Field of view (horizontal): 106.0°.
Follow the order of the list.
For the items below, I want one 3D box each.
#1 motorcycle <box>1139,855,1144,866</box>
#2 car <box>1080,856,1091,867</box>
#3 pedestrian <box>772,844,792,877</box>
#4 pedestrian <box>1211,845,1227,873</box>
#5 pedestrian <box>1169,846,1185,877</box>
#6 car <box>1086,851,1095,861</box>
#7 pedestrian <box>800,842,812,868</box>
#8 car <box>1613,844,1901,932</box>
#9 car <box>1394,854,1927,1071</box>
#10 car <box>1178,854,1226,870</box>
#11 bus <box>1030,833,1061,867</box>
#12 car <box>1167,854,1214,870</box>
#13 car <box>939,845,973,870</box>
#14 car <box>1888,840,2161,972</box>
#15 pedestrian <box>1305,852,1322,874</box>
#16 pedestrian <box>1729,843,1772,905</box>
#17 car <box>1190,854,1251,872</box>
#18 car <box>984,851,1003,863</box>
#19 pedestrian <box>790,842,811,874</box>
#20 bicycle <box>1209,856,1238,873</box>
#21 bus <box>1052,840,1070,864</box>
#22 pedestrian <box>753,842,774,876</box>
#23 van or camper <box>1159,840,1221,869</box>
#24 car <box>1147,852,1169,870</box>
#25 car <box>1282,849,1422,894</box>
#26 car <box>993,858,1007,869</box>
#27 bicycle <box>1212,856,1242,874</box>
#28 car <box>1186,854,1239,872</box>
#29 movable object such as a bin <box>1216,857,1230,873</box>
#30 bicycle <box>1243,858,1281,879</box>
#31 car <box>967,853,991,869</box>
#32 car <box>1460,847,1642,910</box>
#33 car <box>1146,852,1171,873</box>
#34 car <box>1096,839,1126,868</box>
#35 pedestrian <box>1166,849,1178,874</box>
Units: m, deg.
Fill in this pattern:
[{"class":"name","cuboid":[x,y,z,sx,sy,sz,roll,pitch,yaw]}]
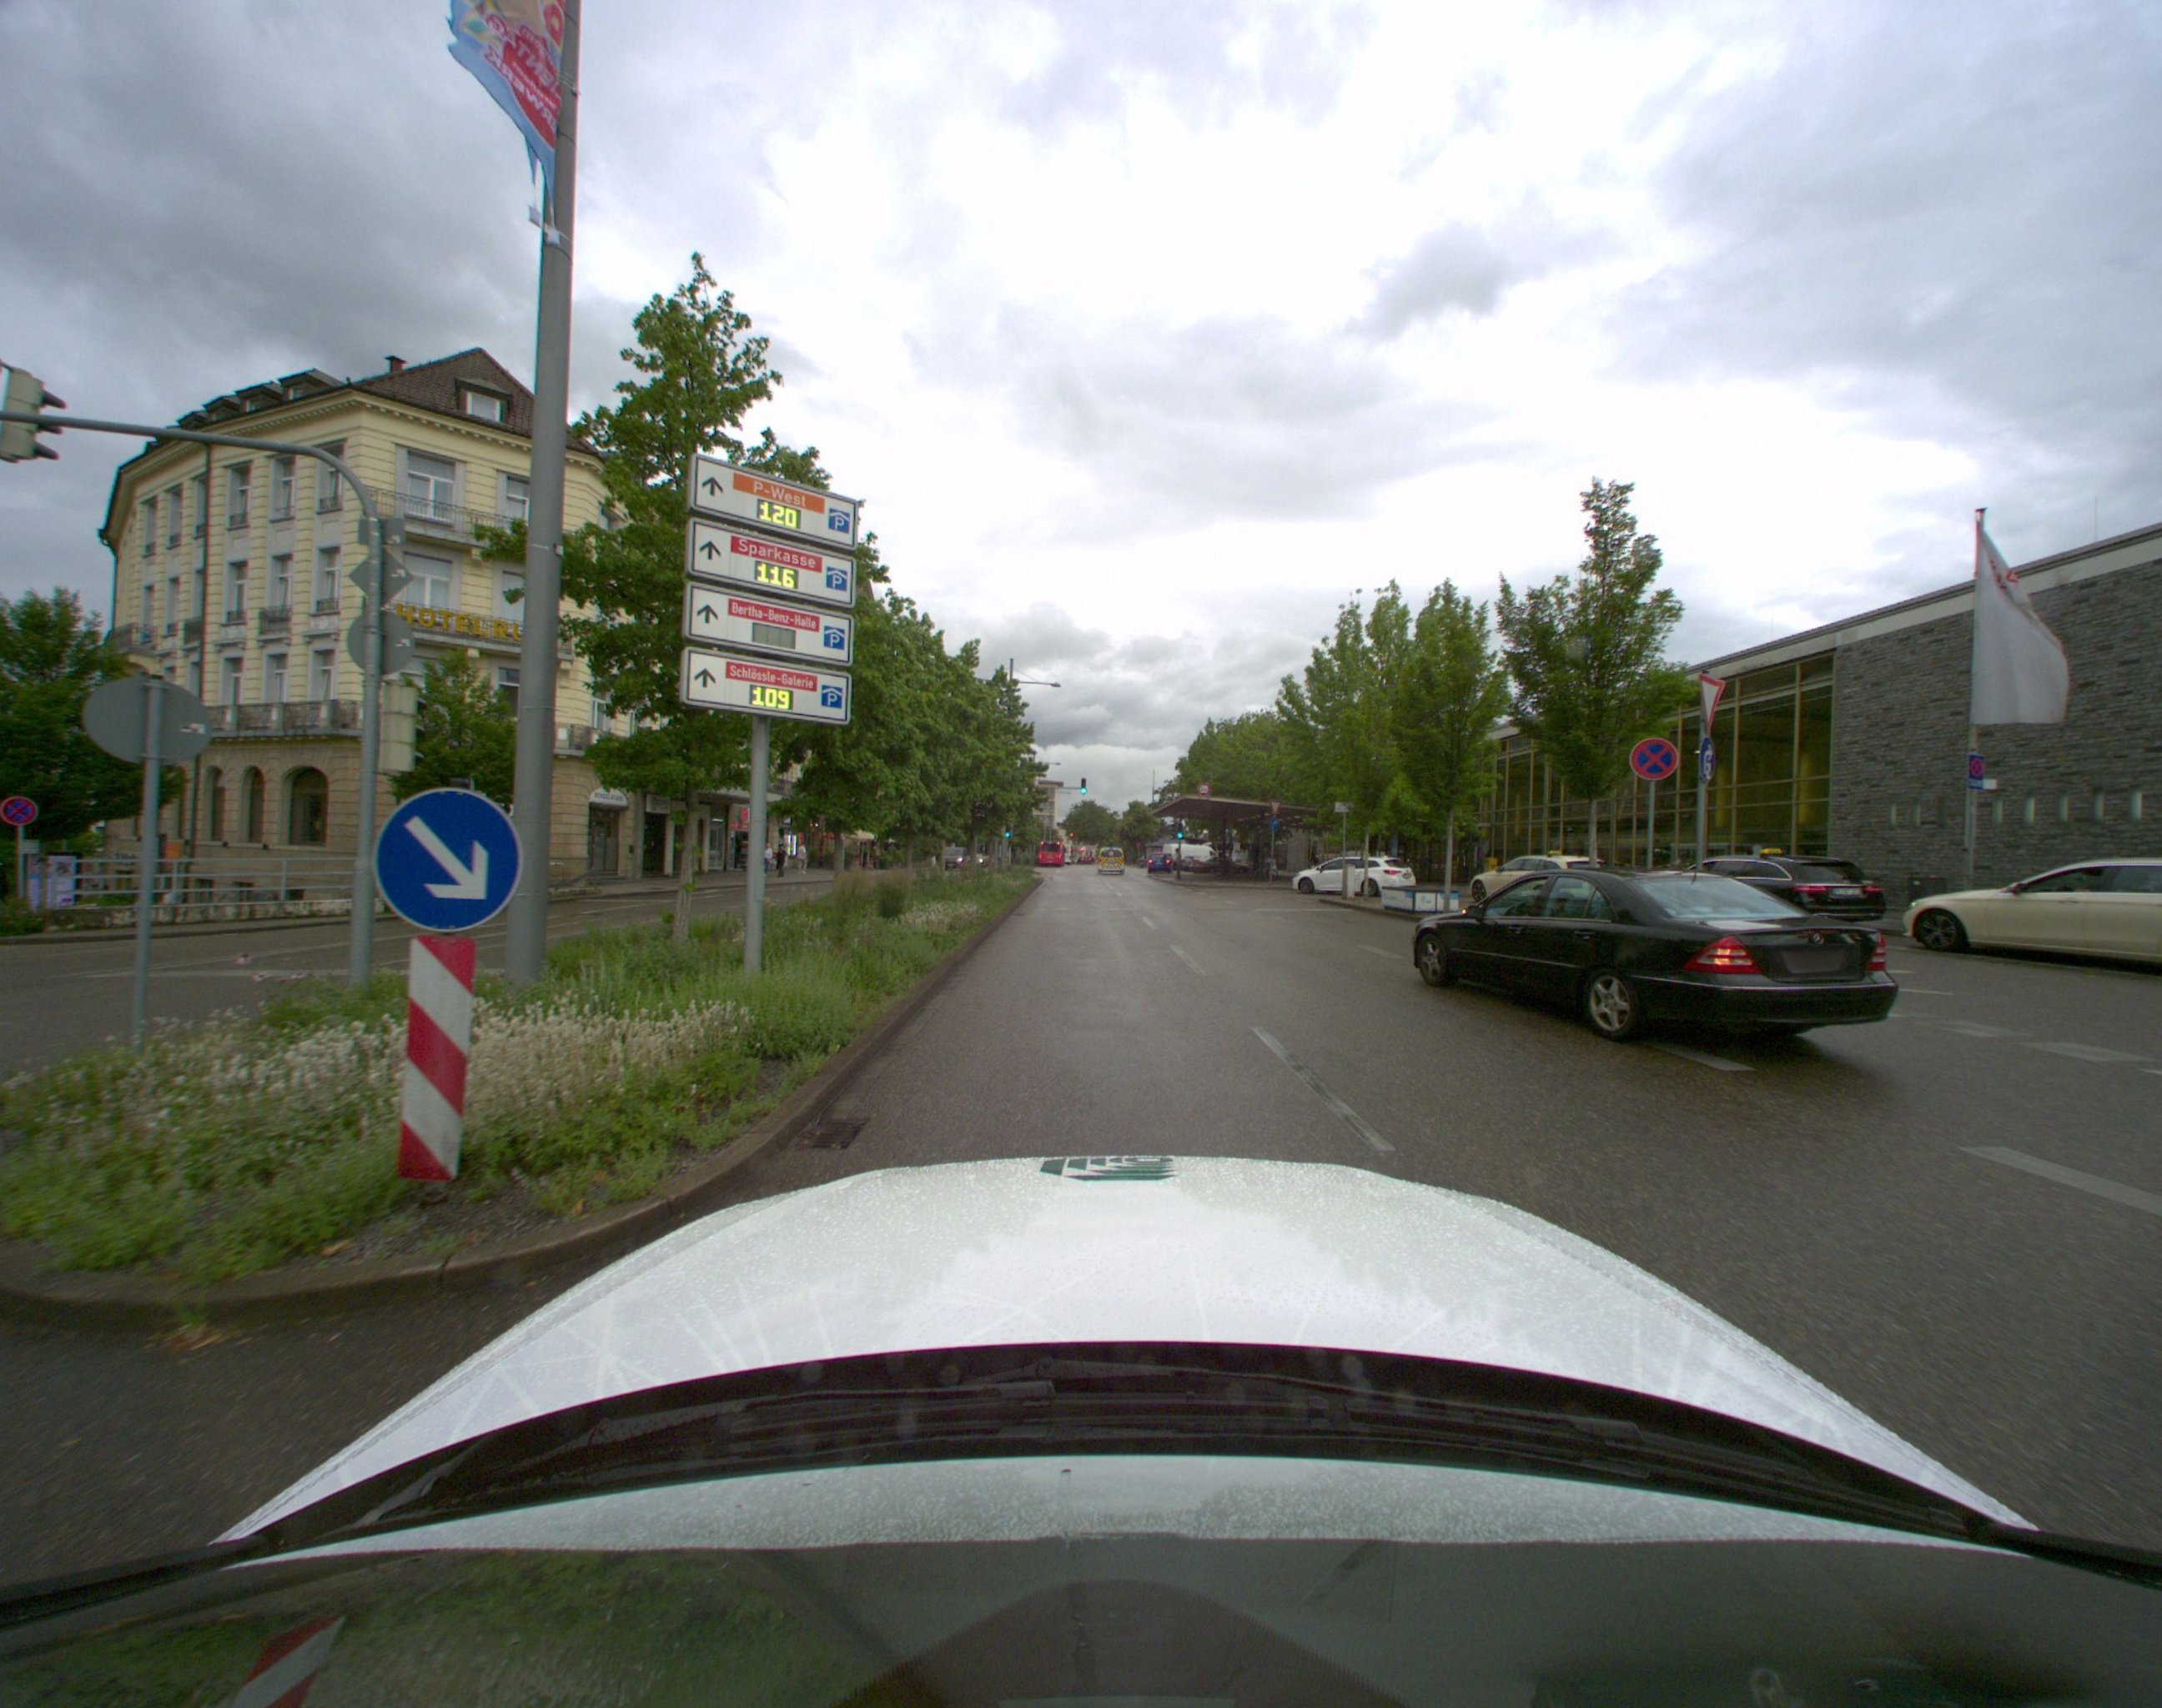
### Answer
[{"class":"motorcycle","cuboid":[7.364,0.814,98.649,0.592,1.288,1.956,0,0,6]},{"class":"car","cuboid":[0.788,1.357,152.178,1.987,2.014,3.999,-1,0,0]},{"class":"pedestrian","cuboid":[-15.302,0.309,41.685,0.679,1.664,0.807,-1,-1,0]},{"class":"pedestrian","cuboid":[9.203,0.353,54.273,0.854,1.835,1.189,0,-1,-1]},{"class":"pedestrian","cuboid":[5.432,0.414,46.152,0.746,1.747,0.833,0,-1,-8]},{"class":"car","cuboid":[1.940,0.501,167.481,1.987,2.014,3.999,-1,0,0]},{"class":"pedestrian","cuboid":[-18.122,0.059,53.655,0.666,1.664,0.535,-1,-1,-9]},{"class":"car","cuboid":[14.023,0.612,17.407,1.988,1.599,4.955,1,0,-1]},{"class":"car","cuboid":[4.958,0.764,7.939,1.693,1.465,4.441,-1,0,-7]},{"class":"car","cuboid":[10.910,0.738,73.563,4.008,1.443,1.848,1,-1,-27]},{"class":"bus","cuboid":[-4.352,-0.412,102.692,3.535,3.979,11.164,-1,0,-1]},{"class":"car","cuboid":[10.176,0.760,75.751,4.008,1.443,1.848,1,-1,-27]},{"class":"car","cuboid":[-10.550,0.282,68.978,1.986,2.014,5.002,-1,0,1]},{"class":"car","cuboid":[14.199,0.619,10.855,1.987,1.599,4.958,-1,0,0]},{"class":"pedestrian","cuboid":[16.375,0.618,57.388,0.864,1.559,0.812,-1,-1,-7]},{"class":"pedestrian","cuboid":[18.113,0.530,22.027,0.727,1.626,0.787,0,-1,-45]},{"class":"car","cuboid":[10.481,0.693,61.346,4.199,1.325,1.828,0,-1,-20]},{"class":"car","cuboid":[-10.580,0.391,98.789,1.741,1.430,3.953,-1,0,0]},{"class":"pedestrian","cuboid":[-16.213,0.231,47.031,0.877,1.812,0.750,-3,-1,-1]},{"class":"bicycle","cuboid":[8.930,0.666,50.988,1.833,1.056,0.418,-1,-1,-19]},{"class":"bus","cuboid":[-3.225,-0.320,132.681,2.798,3.746,10.437,-1,0,-2]},{"class":"pedestrian","cuboid":[-16.221,0.256,41.621,0.679,1.664,0.807,-1,-1,3]},{"class":"van or camper","cuboid":[10.948,0.050,81.818,5.980,2.763,2.179,-1,0,-28]},{"class":"car","cuboid":[6.640,0.611,70.371,1.779,1.523,3.686,0,-1,5]},{"class":"car","cuboid":[9.976,0.631,30.317,1.773,1.546,4.721,0,-1,-40]},{"class":"car","cuboid":[-11.675,1.315,117.734,1.592,1.531,3.653,-1,0,0]},{"class":"bicycle","cuboid":[9.042,0.669,50.542,1.833,1.056,0.418,-1,-1,-19]},{"class":"car","cuboid":[10.501,0.706,65.012,4.012,1.359,1.846,1,-1,-31]},{"class":"movable object such as a bin","cuboid":[9.870,0.781,56.544,0.751,1.067,0.746,-1,0,-9]},{"class":"bicycle","cuboid":[9.344,0.732,42.082,1.822,1.056,0.420,-1,-1,-1]},{"class":"car","cuboid":[-10.825,0.743,86.907,1.987,1.543,4.632,-1,0,0]},{"class":"car","cuboid":[13.456,0.628,23.759,1.992,1.599,4.945,-1,0,-8]},{"class":"car","cuboid":[6.127,0.684,64.407,1.850,1.569,4.004,0,-1,4]},{"class":"car","cuboid":[2.149,-0.024,59.604,1.987,2.014,5.062,-1,0,1]},{"class":"pedestrian","cuboid":[7.217,0.592,64.632,0.830,2.014,0.888,-1,-1,-5]}]
